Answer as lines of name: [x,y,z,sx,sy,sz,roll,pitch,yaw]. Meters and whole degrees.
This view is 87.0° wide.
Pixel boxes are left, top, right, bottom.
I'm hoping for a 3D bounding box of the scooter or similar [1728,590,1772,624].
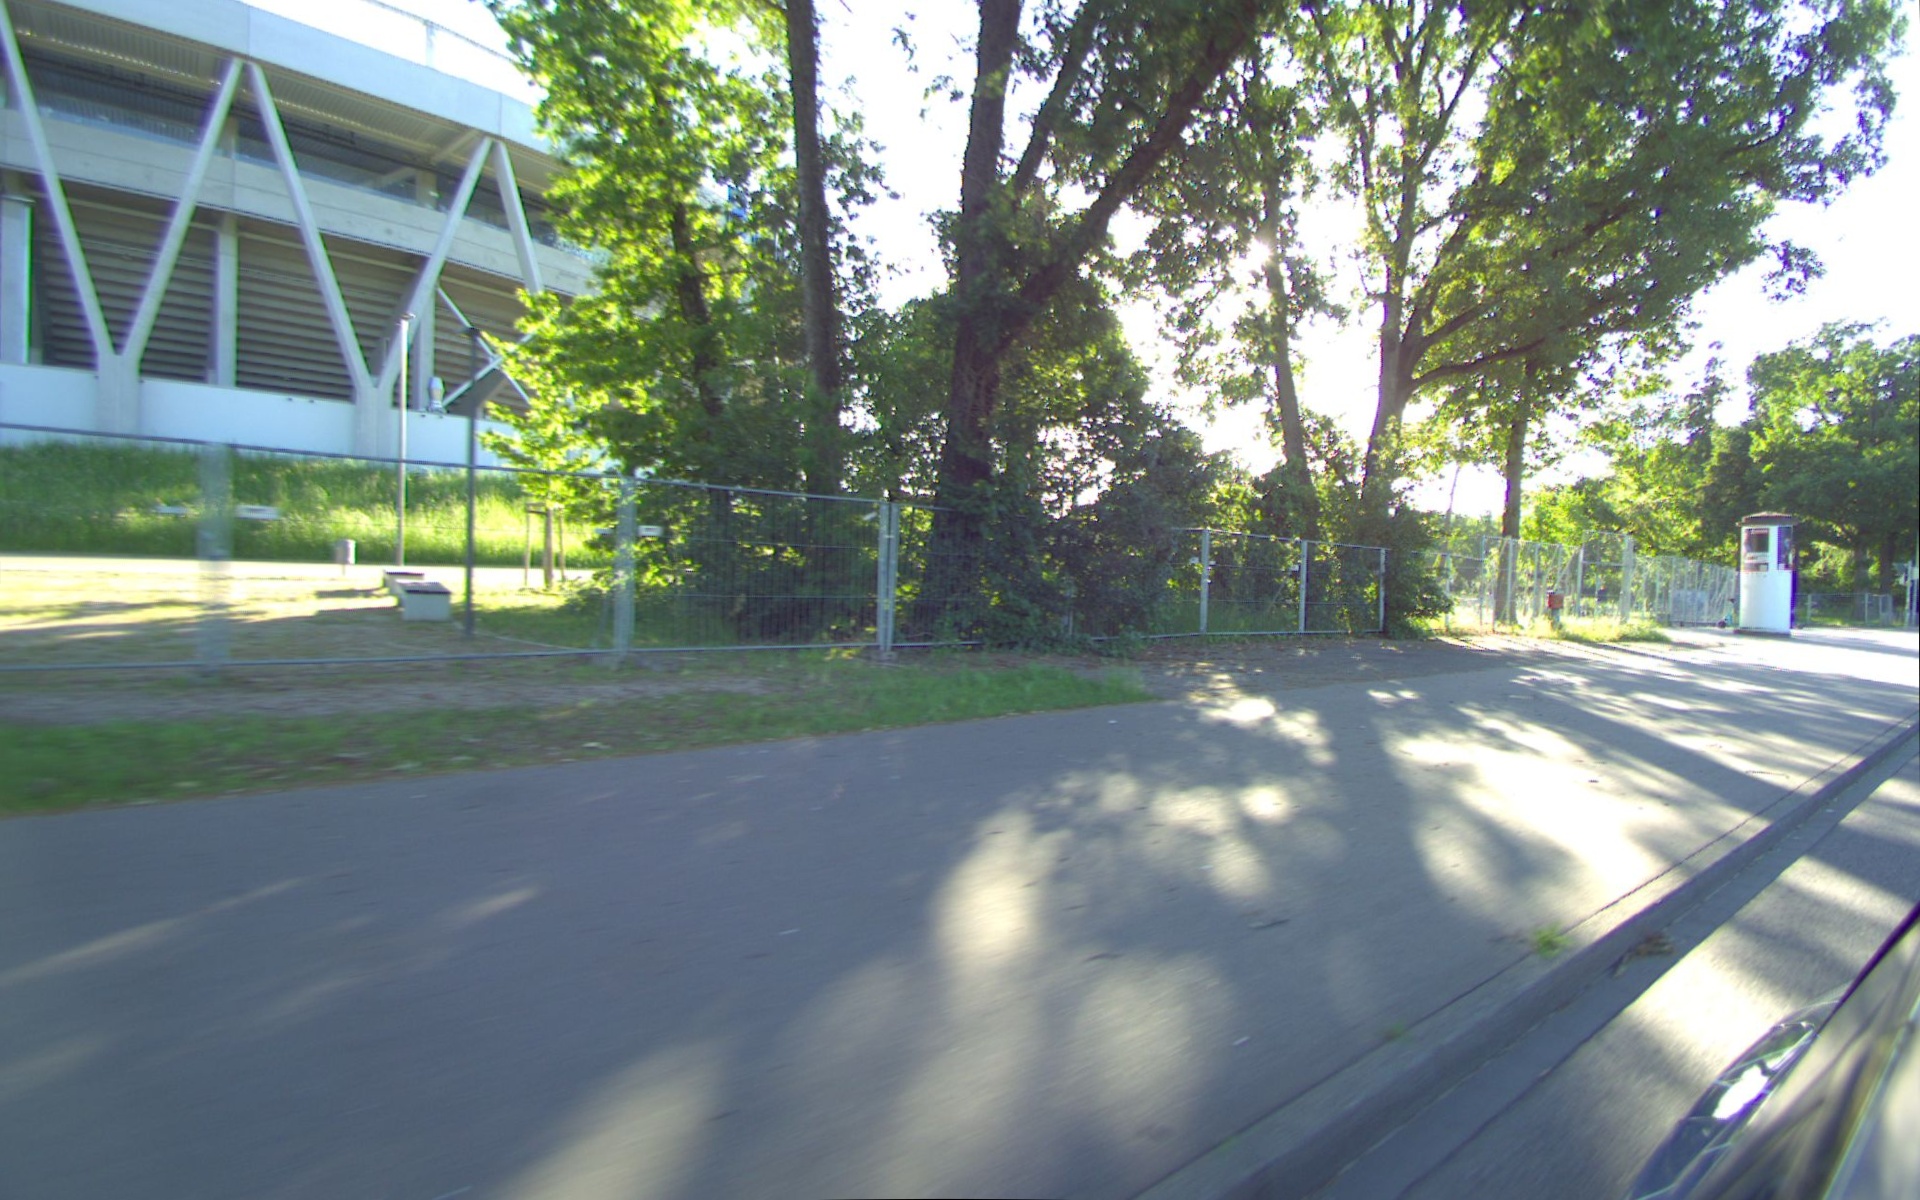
scooter or similar: [30.944,0.260,39.640,1.282,1.253,0.334,2,1,15]
